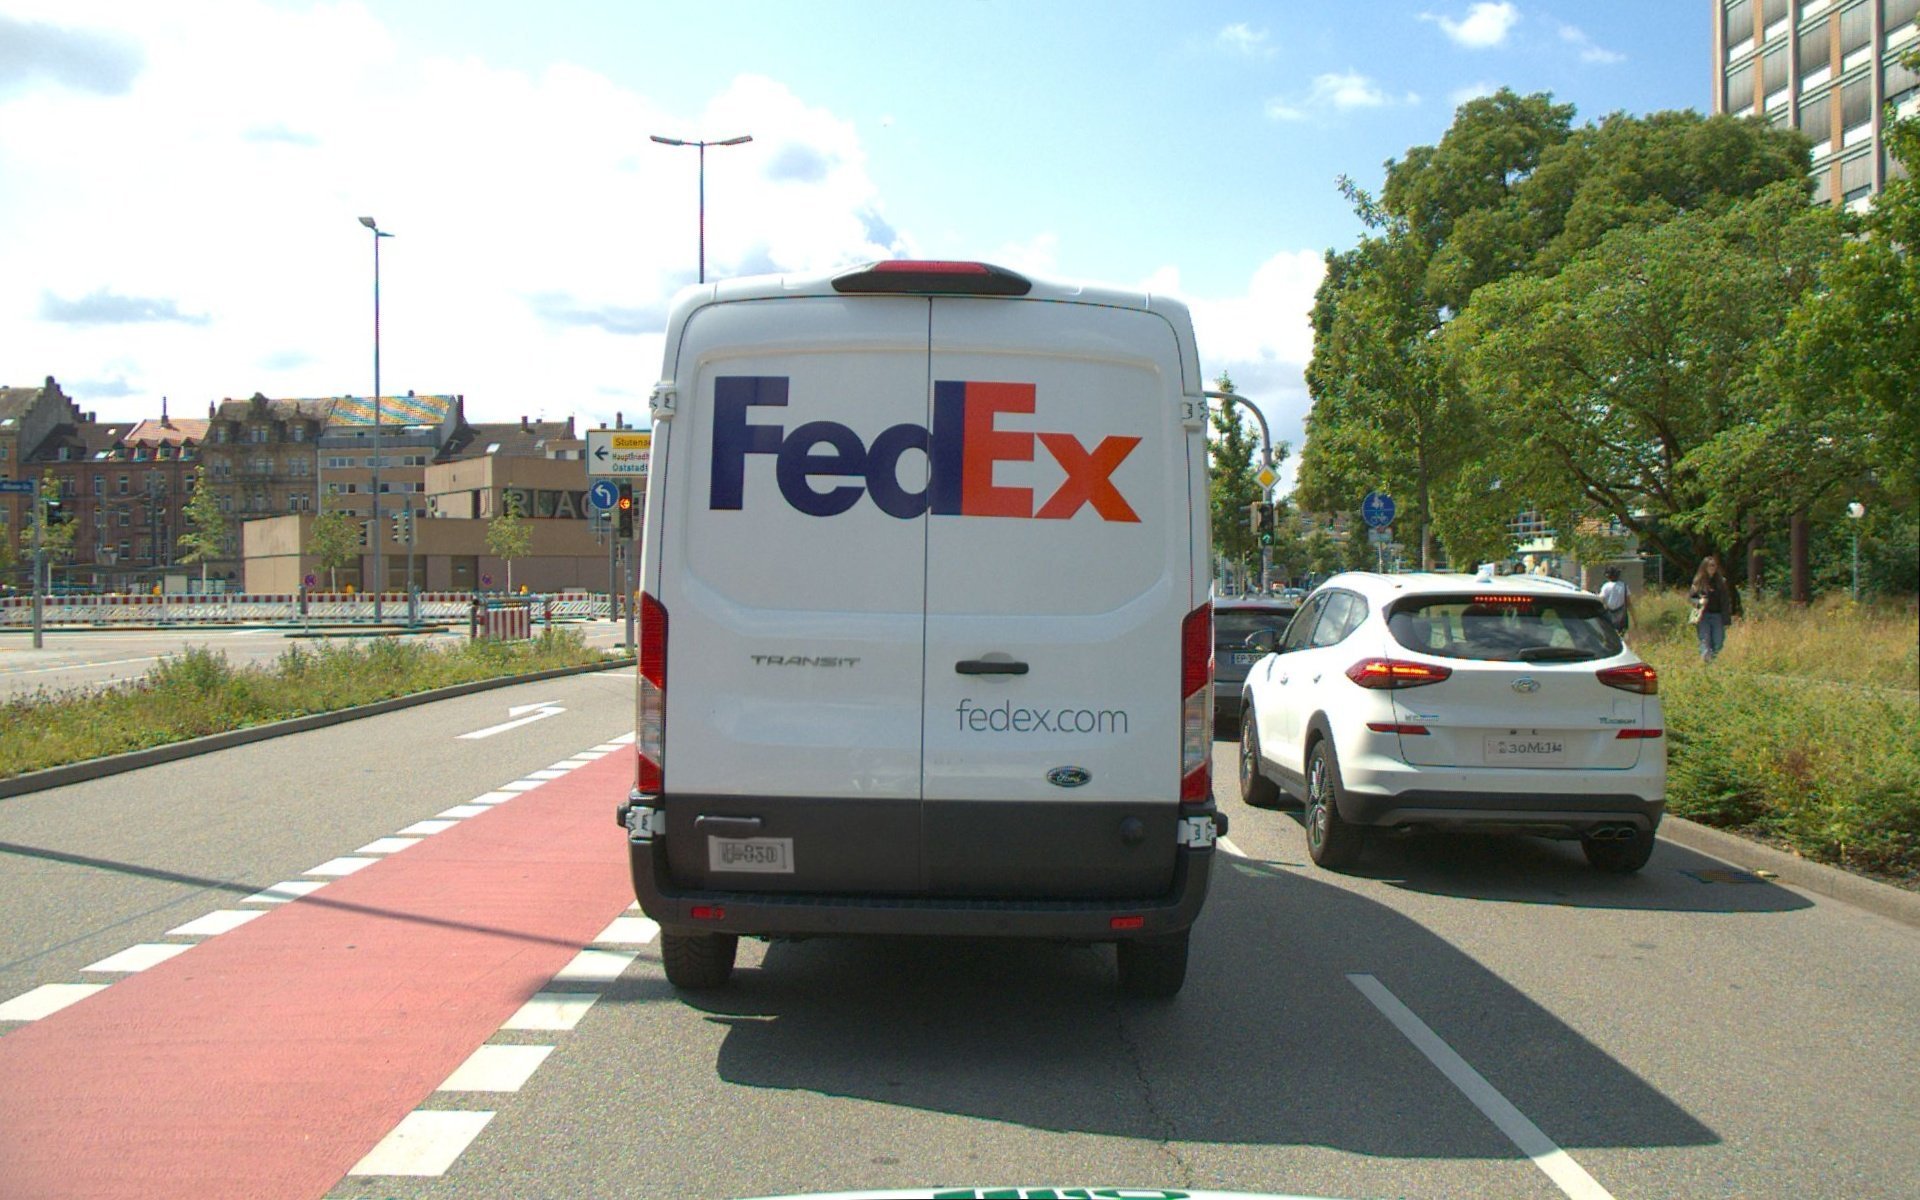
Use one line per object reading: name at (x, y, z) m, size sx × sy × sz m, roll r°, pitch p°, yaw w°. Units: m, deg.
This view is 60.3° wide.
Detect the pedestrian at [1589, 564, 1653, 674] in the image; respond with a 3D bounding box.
pedestrian at (10.018, 0.286, 25.081) m, size 0.653 × 1.624 × 0.648 m, roll -2°, pitch 0°, yaw -1°

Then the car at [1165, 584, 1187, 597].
car at (28.133, -1.203, 215.282) m, size 1.952 × 1.601 × 4.178 m, roll 1°, pitch 0°, yaw 21°

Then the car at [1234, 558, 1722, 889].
car at (2.973, 0.601, 10.491) m, size 1.842 × 1.670 × 4.233 m, roll 0°, pitch 1°, yaw 1°

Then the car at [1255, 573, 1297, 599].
car at (20.219, -0.899, 105.741) m, size 1.843 × 1.670 × 3.955 m, roll 0°, pitch 1°, yaw 24°

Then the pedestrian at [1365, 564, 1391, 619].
pedestrian at (14.208, -0.290, 56.206) m, size 0.734 × 1.834 × 0.610 m, roll -2°, pitch 0°, yaw 6°

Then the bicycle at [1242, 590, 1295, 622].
bicycle at (10.988, 0.215, 58.986) m, size 1.771 × 1.068 × 0.592 m, roll -3°, pitch -1°, yaw 6°

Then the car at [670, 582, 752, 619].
car at (-10.747, 0.053, 71.608) m, size 1.951 × 1.534 × 4.019 m, roll 1°, pitch 0°, yaw 16°

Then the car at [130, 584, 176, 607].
car at (-87.602, -0.452, 179.616) m, size 4.020 × 2.384 × 2.001 m, roll 1°, pitch 0°, yaw 5°

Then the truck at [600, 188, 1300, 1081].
truck at (-0.067, 0.099, 7.979) m, size 2.093 × 2.686 × 5.916 m, roll 1°, pitch 0°, yaw -1°

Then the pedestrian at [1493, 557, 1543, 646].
pedestrian at (11.496, 0.023, 34.109) m, size 0.734 × 1.780 × 0.667 m, roll -2°, pitch 0°, yaw -5°

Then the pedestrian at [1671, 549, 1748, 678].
pedestrian at (10.624, 0.186, 23.467) m, size 0.653 × 1.780 × 0.878 m, roll -2°, pitch 0°, yaw -1°

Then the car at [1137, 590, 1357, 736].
car at (3.116, 0.629, 18.682) m, size 1.875 × 1.444 × 3.919 m, roll 0°, pitch 1°, yaw 1°

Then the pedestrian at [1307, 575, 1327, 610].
pedestrian at (16.728, -0.367, 77.513) m, size 0.740 × 1.617 × 0.761 m, roll 1°, pitch -1°, yaw 1°

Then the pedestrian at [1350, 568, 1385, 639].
pedestrian at (10.398, 0.090, 42.205) m, size 0.653 × 1.777 × 0.609 m, roll -2°, pitch 0°, yaw -7°

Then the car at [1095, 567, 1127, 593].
car at (12.874, -1.693, 140.713) m, size 1.951 × 2.049 × 4.125 m, roll 1°, pitch 0°, yaw 17°

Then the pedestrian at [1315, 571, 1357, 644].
pedestrian at (9.531, 0.179, 41.945) m, size 0.735 × 1.808 × 0.880 m, roll -2°, pitch 0°, yaw -6°

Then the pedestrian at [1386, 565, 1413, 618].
pedestrian at (15.008, -0.293, 56.506) m, size 0.734 × 1.783 × 0.610 m, roll -2°, pitch 0°, yaw 6°

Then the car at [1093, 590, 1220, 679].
car at (3.422, 0.565, 29.466) m, size 1.875 × 1.444 × 3.919 m, roll 0°, pitch 1°, yaw 1°

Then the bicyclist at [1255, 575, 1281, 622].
bicyclist at (10.976, -0.061, 58.993) m, size 0.810 × 1.629 × 0.580 m, roll -3°, pitch -1°, yaw 6°
